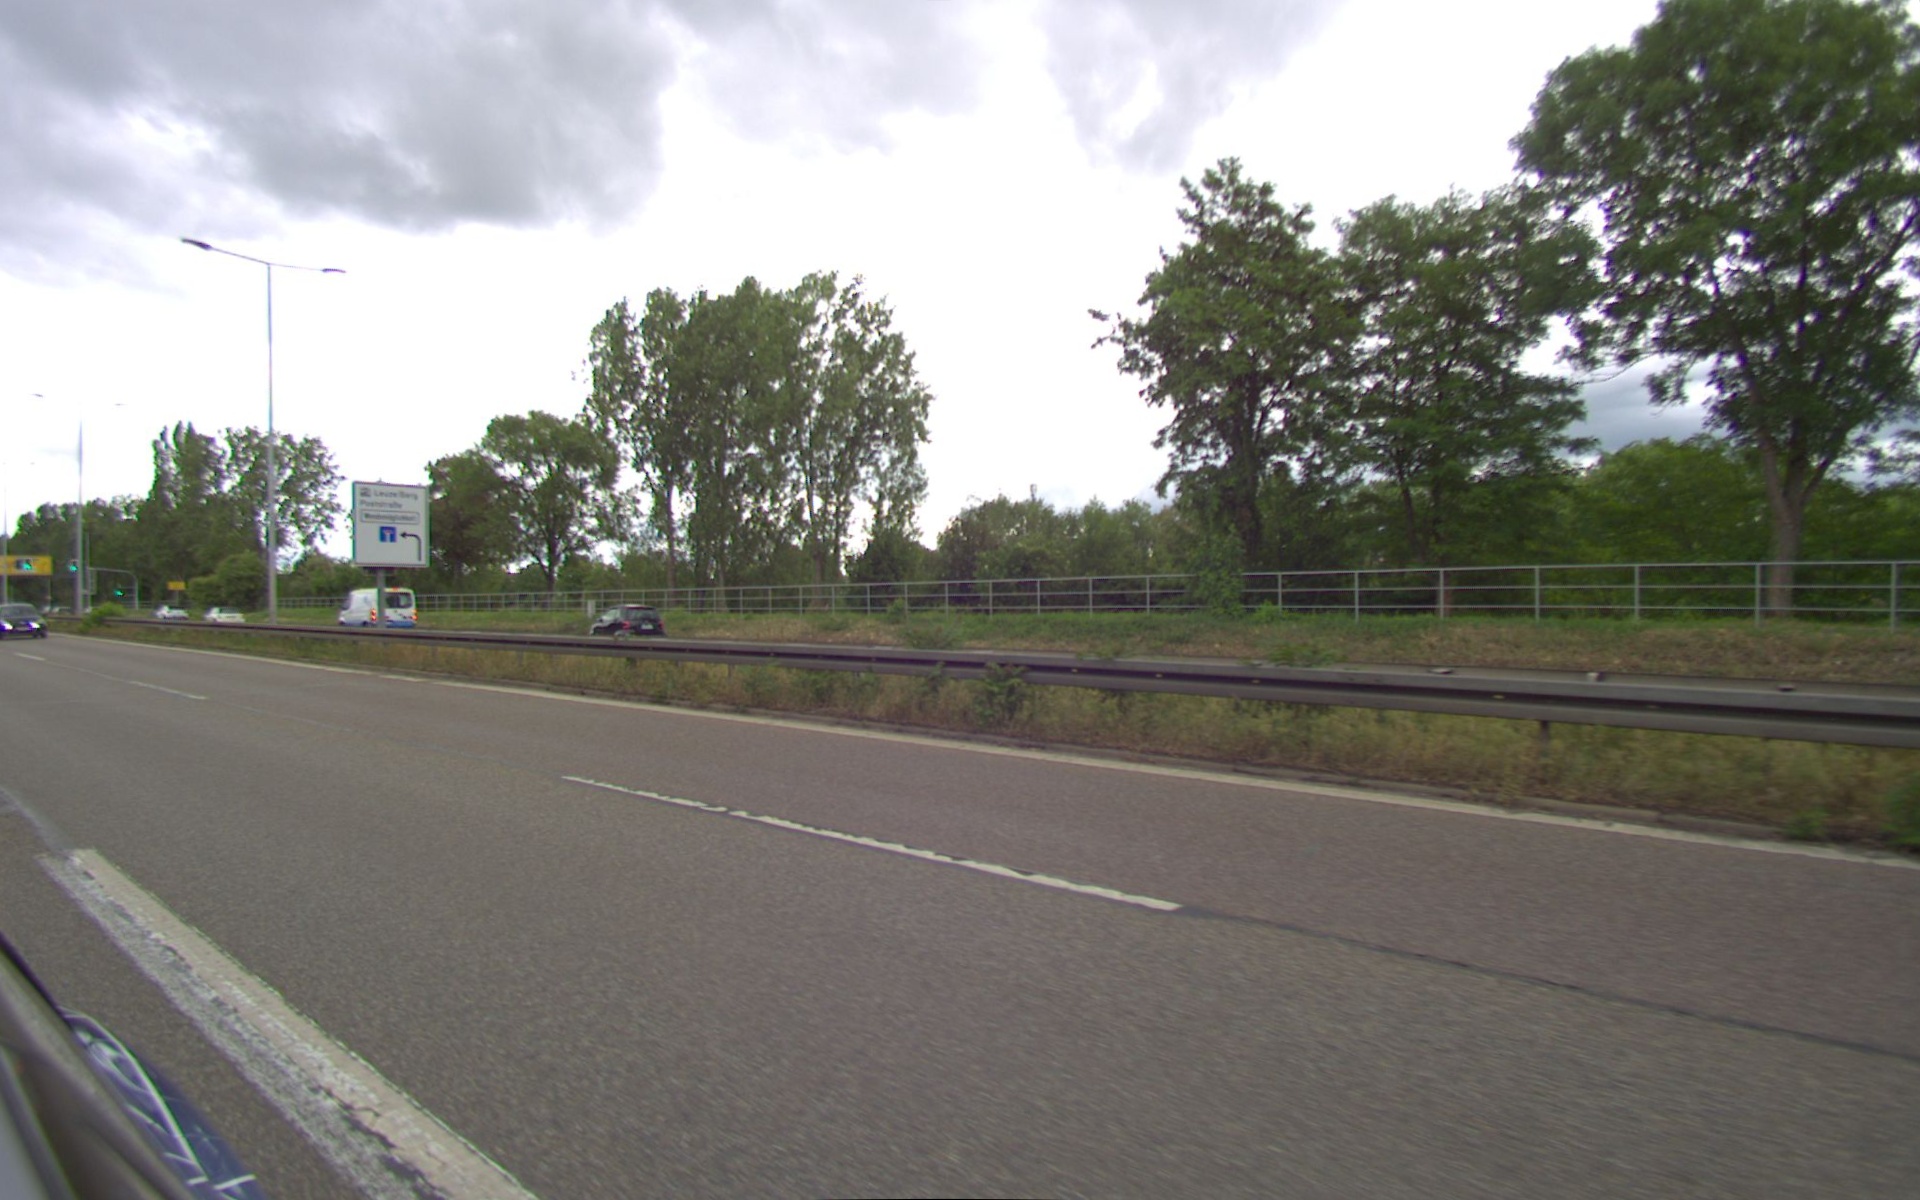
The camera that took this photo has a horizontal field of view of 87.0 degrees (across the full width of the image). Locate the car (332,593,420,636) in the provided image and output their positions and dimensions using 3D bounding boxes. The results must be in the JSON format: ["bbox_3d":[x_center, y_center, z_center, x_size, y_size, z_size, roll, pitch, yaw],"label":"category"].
[{"bbox_3d":[-28.343,0.692,49.031,5.474,1.962,2.201,-1,0,43],"label":"car"}]

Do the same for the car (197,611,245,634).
[{"bbox_3d":[-48.300,1.462,66.124,3.987,1.409,1.642,-2,0,41],"label":"car"}]

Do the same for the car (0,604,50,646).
[{"bbox_3d":[-41.461,1.084,44.302,4.143,1.738,1.860,-2,0,40],"label":"car"}]

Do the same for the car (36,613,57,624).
[{"bbox_3d":[-121.724,2.446,134.876,4.059,1.309,1.562,-2,0,41],"label":"car"}]

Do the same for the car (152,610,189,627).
[{"bbox_3d":[-72.040,1.684,92.347,4.200,1.501,1.859,-2,0,41],"label":"car"}]

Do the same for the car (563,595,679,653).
[{"bbox_3d":[-11.138,0.771,33.133,4.146,1.738,1.858,-2,0,43],"label":"car"}]

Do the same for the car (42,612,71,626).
[{"bbox_3d":[-95.918,2.016,107.467,4.784,1.309,1.643,-2,0,40],"label":"car"}]

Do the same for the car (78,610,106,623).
[{"bbox_3d":[-98.502,1.875,114.788,4.784,1.309,1.643,-2,0,40],"label":"car"}]
